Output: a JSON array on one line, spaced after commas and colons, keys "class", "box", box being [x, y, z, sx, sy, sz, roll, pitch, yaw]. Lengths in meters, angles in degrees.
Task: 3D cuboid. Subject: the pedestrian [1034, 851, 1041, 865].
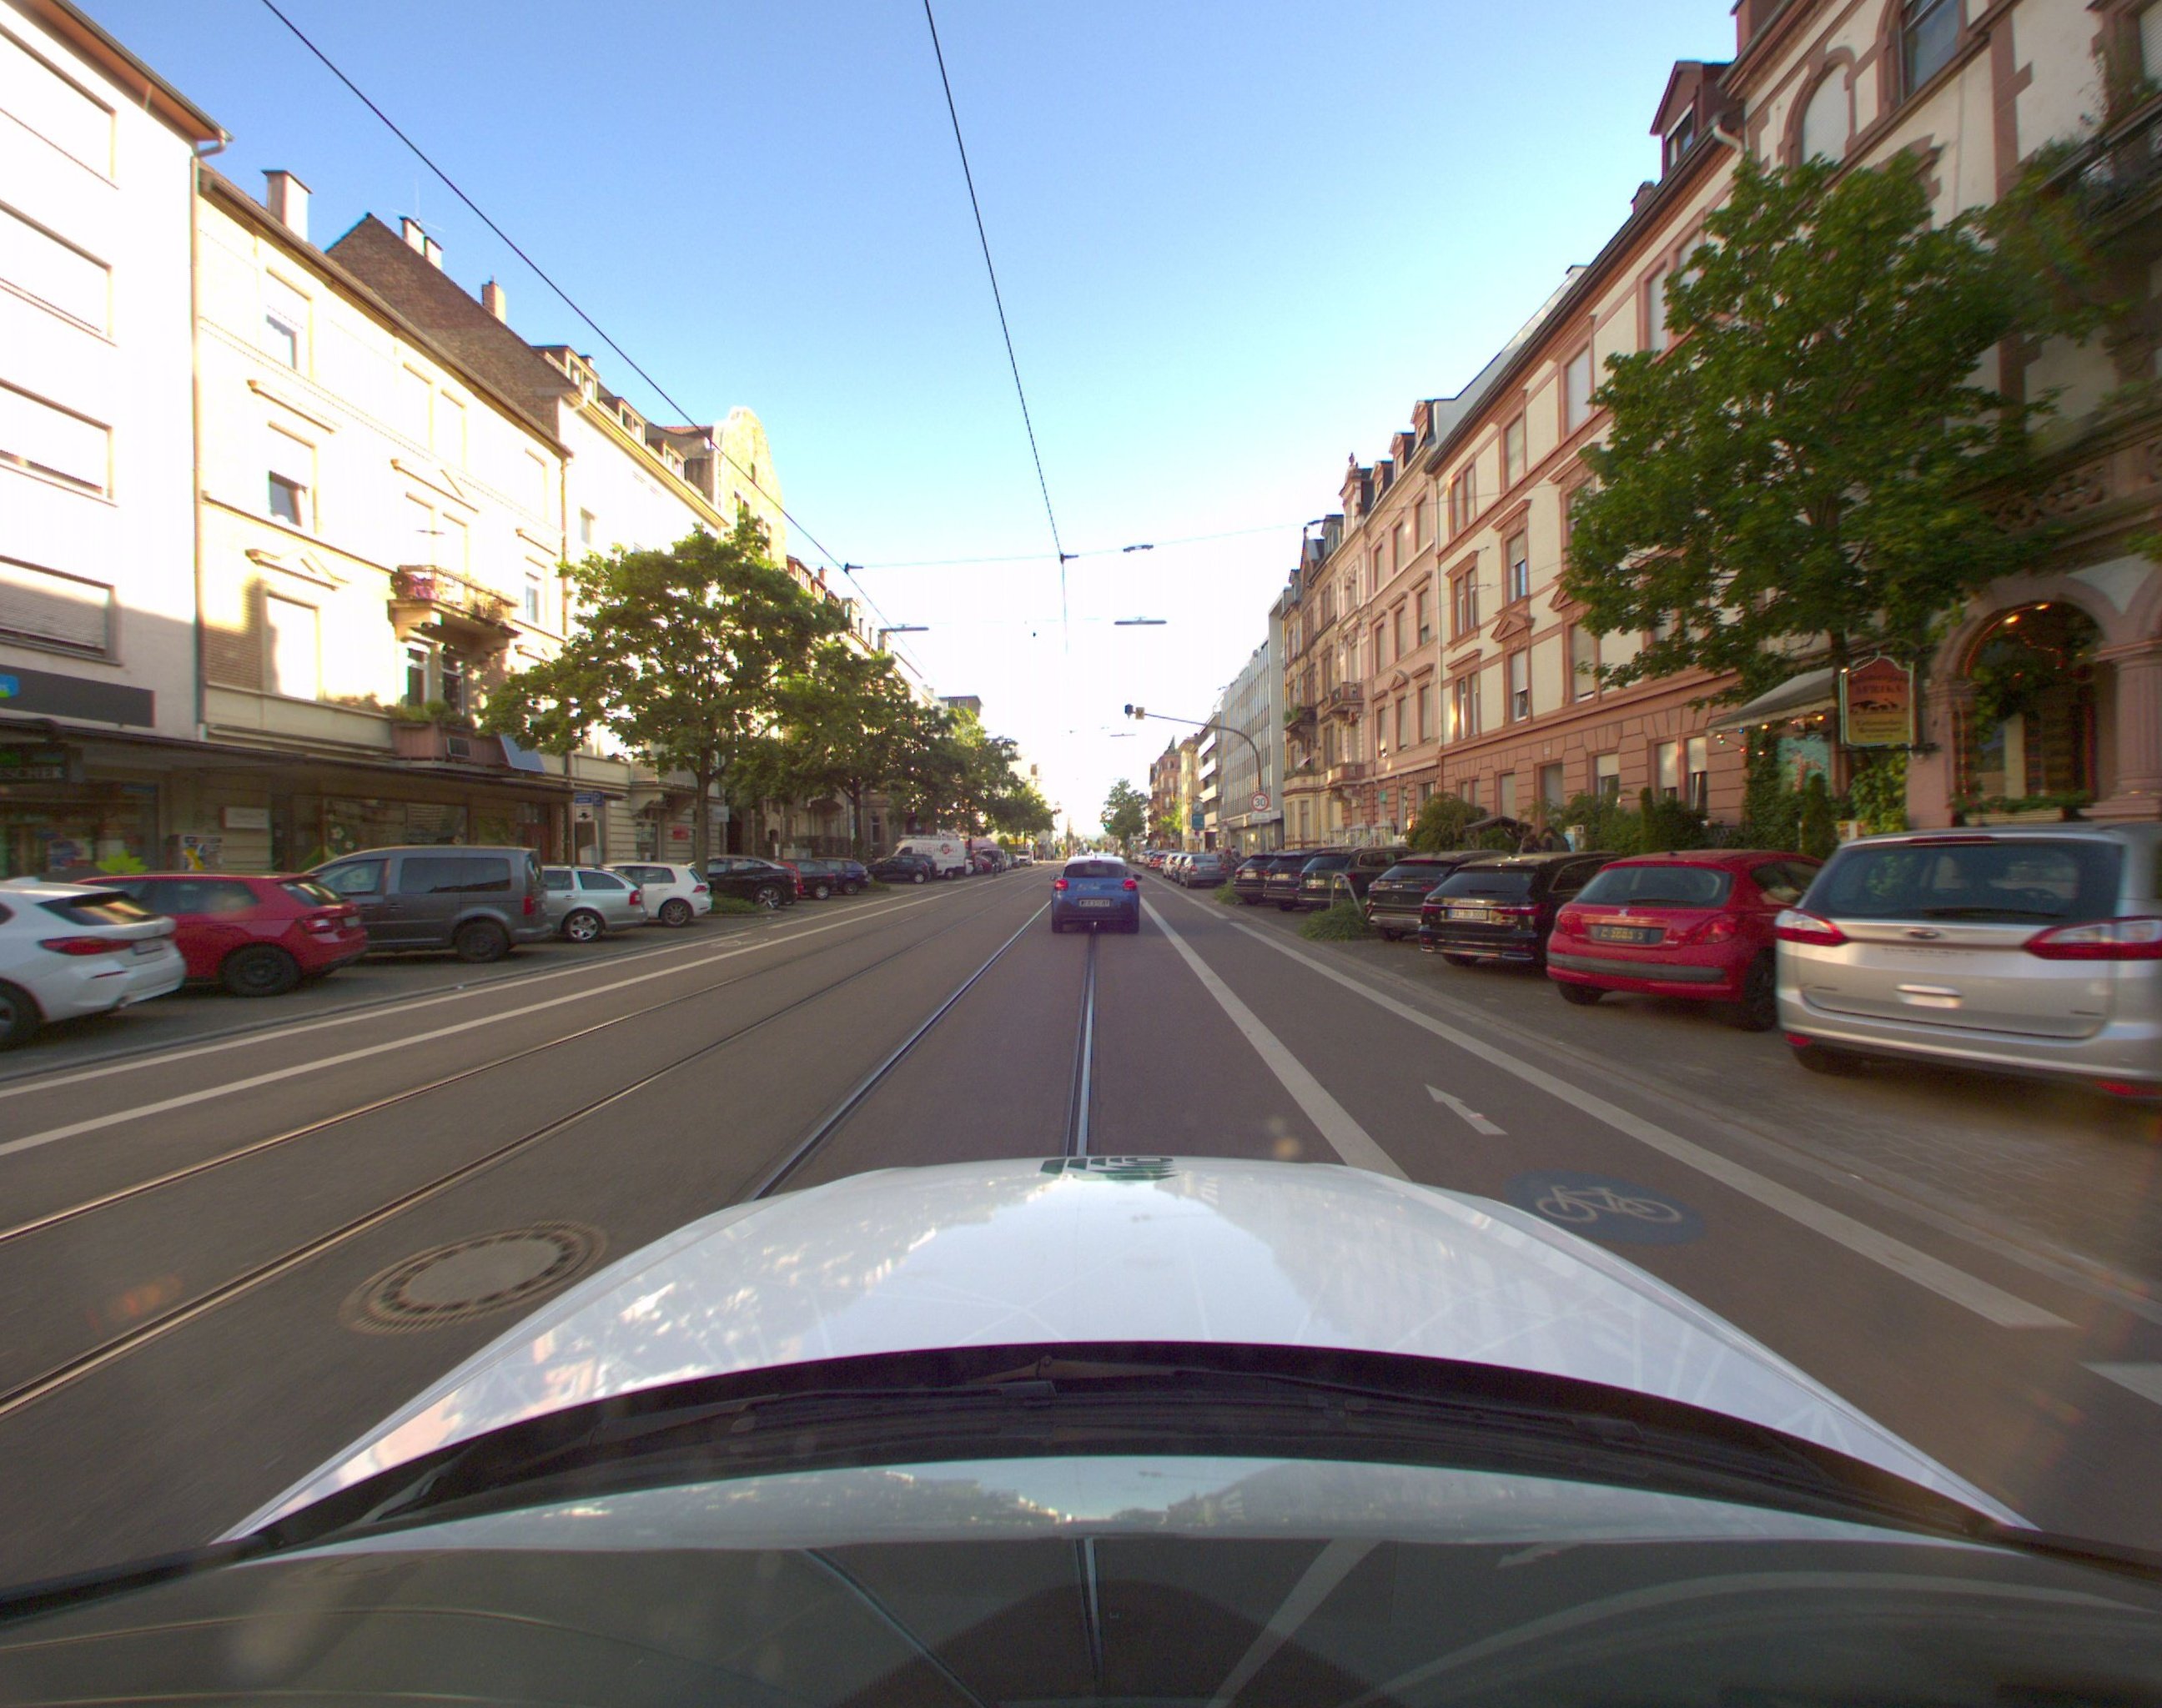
[{"class": "pedestrian", "box": [-5.596, 0.510, 104.889, 0.732, 1.726, 0.623, 0, -1, -23]}]

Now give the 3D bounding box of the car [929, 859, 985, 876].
[{"class": "car", "box": [-9.107, 0.981, 59.903, 3.815, 1.265, 1.504, 0, 0, -25]}]

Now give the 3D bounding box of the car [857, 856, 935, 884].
[{"class": "car", "box": [-9.901, 0.833, 43.547, 3.994, 1.489, 1.797, 0, 0, -15]}]

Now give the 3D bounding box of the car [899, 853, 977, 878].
[{"class": "car", "box": [-9.449, 0.760, 53.850, 4.787, 1.618, 1.695, 0, 0, -31]}]

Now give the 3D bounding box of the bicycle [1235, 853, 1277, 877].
[{"class": "bicycle", "box": [9.068, 0.553, 42.299, 2.050, 1.221, 0.663, -1, -1, -1]}]

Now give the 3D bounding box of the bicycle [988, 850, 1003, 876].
[{"class": "bicycle", "box": [-5.541, 0.589, 52.980, 0.678, 1.678, 2.097, 0, 0, 2]}]

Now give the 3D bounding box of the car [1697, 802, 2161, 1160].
[{"class": "car", "box": [6.398, 0.574, 5.364, 4.370, 1.596, 1.839, 0, 0, -24]}]

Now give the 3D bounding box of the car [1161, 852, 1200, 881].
[{"class": "car", "box": [5.691, 0.681, 47.003, 1.866, 1.596, 4.002, 0, 0, 2]}]

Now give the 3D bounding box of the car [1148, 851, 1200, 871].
[{"class": "car", "box": [7.366, 0.564, 64.448, 3.743, 1.521, 1.949, 0, 0, -32]}]

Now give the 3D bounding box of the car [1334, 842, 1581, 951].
[{"class": "car", "box": [6.539, 0.628, 13.976, 4.351, 1.596, 2.022, 0, 0, -37]}]

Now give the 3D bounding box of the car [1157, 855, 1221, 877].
[{"class": "car", "box": [7.614, 0.854, 57.399, 4.465, 1.508, 1.522, 0, 0, -28]}]

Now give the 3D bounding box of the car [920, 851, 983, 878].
[{"class": "car", "box": [-8.979, 0.688, 56.452, 4.006, 1.817, 1.699, 0, 0, -25]}]

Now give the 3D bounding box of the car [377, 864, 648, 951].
[{"class": "car", "box": [-10.572, 0.919, 15.515, 4.032, 1.449, 1.682, 0, 0, -31]}]

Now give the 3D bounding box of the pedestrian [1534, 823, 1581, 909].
[{"class": "pedestrian", "box": [10.096, 0.255, 17.276, 0.516, 1.778, 0.864, 0, -1, 1]}]

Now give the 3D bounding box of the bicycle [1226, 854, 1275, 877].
[{"class": "bicycle", "box": [9.118, 0.635, 43.929, 2.530, 1.221, 0.664, 0, -1, 0]}]

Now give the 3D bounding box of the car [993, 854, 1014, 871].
[{"class": "car", "box": [-7.535, 0.786, 79.171, 1.742, 1.618, 4.408, 0, 0, -2]}]

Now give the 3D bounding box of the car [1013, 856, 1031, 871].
[{"class": "car", "box": [-7.094, 1.130, 98.090, 1.825, 1.848, 4.215, 0, 0, 2]}]

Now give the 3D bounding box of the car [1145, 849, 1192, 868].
[{"class": "car", "box": [7.214, 0.362, 66.867, 3.463, 1.555, 1.806, 0, 0, -31]}]

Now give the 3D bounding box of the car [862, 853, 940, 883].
[{"class": "car", "box": [-10.129, 0.753, 45.818, 4.006, 1.618, 1.699, 0, 0, -25]}]

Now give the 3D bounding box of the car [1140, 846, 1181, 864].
[{"class": "car", "box": [7.134, 0.093, 72.977, 3.467, 1.640, 1.666, 0, -1, -35]}]

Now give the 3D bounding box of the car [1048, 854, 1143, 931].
[{"class": "car", "box": [0.305, 0.721, 16.861, 1.756, 1.441, 3.557, 0, 0, 1]}]

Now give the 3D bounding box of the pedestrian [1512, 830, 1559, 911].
[{"class": "pedestrian", "box": [9.487, 0.333, 17.026, 0.516, 1.648, 0.864, 0, -1, 1]}]

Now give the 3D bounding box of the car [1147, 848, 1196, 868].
[{"class": "car", "box": [7.781, 0.354, 69.788, 3.743, 1.652, 2.027, 0, 0, -32]}]

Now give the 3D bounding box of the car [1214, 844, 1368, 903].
[{"class": "car", "box": [6.217, 0.548, 23.962, 4.331, 1.596, 1.963, 0, 0, -32]}]

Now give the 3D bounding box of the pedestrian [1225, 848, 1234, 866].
[{"class": "pedestrian", "box": [13.135, 0.254, 72.252, 0.690, 1.587, 0.678, 0, -1, 1]}]

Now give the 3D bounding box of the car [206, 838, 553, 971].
[{"class": "car", "box": [-10.578, 0.691, 12.715, 3.835, 1.785, 1.779, 0, -1, -31]}]

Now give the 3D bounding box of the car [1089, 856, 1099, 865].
[{"class": "car", "box": [1.967, 0.996, 123.967, 1.417, 1.432, 3.140, 0, 0, 2]}]

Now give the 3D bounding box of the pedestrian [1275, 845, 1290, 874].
[{"class": "pedestrian", "box": [11.458, 0.310, 46.230, 0.709, 1.607, 0.654, 0, -1, 0]}]

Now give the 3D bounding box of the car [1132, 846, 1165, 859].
[{"class": "car", "box": [8.151, -0.179, 98.586, 3.664, 1.574, 1.849, 0, 0, -18]}]

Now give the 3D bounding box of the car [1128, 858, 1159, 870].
[{"class": "car", "box": [8.046, 1.236, 104.922, 3.664, 1.534, 1.778, 0, 0, -18]}]

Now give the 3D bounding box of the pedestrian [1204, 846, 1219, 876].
[{"class": "pedestrian", "box": [6.994, 0.374, 43.610, 0.709, 1.607, 0.654, 0, -1, 0]}]

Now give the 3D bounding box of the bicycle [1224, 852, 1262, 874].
[{"class": "bicycle", "box": [9.069, 0.479, 45.730, 2.012, 1.221, 0.664, 0, -1, 0]}]

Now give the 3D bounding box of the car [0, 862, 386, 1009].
[{"class": "car", "box": [-10.792, 0.876, 9.735, 3.479, 1.473, 1.634, -1, 0, -28]}]

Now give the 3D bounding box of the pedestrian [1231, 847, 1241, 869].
[{"class": "pedestrian", "box": [12.002, 0.309, 63.008, 0.690, 1.756, 0.678, 0, -1, 1]}]

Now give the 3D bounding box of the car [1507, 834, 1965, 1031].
[{"class": "car", "box": [6.458, 0.623, 8.061, 4.004, 1.536, 1.904, 0, 0, -24]}]

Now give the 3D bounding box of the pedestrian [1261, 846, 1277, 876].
[{"class": "pedestrian", "box": [10.662, 0.400, 46.165, 0.709, 1.607, 0.654, -3, -1, 0]}]

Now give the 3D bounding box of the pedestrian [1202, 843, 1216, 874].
[{"class": "pedestrian", "box": [7.042, 0.261, 44.858, 0.709, 1.671, 0.654, 0, -1, 0]}]

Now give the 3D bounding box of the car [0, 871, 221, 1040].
[{"class": "car", "box": [-10.478, 0.873, 7.062, 3.804, 1.400, 1.737, 0, 0, -32]}]

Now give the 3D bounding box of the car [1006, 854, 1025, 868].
[{"class": "car", "box": [-6.836, 0.738, 84.687, 1.743, 1.487, 4.039, 0, 0, -2]}]

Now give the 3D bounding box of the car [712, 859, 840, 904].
[{"class": "car", "box": [-10.825, 0.919, 28.980, 4.013, 1.489, 1.788, 0, 0, -31]}]

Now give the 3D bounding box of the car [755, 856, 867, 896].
[{"class": "car", "box": [-10.599, 0.836, 31.996, 4.008, 1.489, 1.790, 0, 0, -27]}]

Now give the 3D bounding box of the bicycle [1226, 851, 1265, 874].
[{"class": "bicycle", "box": [9.075, 0.475, 44.882, 2.012, 1.221, 0.664, 0, -1, 0]}]

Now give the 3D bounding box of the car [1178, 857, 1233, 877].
[{"class": "car", "box": [9.340, 0.955, 61.138, 3.796, 1.487, 1.822, 0, 0, -28]}]

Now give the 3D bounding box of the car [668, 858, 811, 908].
[{"class": "car", "box": [-10.934, 0.878, 26.097, 4.013, 1.489, 1.849, 0, 0, -31]}]

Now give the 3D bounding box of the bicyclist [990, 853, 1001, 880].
[{"class": "bicyclist", "box": [-5.530, 0.801, 52.695, 0.632, 1.681, 0.727, 0, -1, 1]}]

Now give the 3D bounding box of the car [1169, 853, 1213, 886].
[{"class": "car", "box": [5.576, 0.760, 41.697, 1.866, 1.596, 4.002, 0, 0, 2]}]

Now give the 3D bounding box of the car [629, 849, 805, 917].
[{"class": "car", "box": [-10.381, 0.776, 23.286, 4.381, 1.783, 1.976, 0, 0, -31]}]

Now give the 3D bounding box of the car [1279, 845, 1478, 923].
[{"class": "car", "box": [6.697, 0.615, 18.348, 4.004, 1.596, 1.944, 0, 0, -24]}]

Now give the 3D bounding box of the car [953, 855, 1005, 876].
[{"class": "car", "box": [-7.941, 0.891, 63.556, 3.736, 1.622, 1.777, 0, 0, -20]}]

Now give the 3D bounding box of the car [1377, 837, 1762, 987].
[{"class": "car", "box": [6.283, 0.624, 10.499, 4.454, 1.596, 2.072, 0, 0, -24]}]

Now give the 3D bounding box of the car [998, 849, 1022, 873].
[{"class": "car", "box": [-6.067, 0.600, 70.245, 1.742, 1.973, 5.237, 0, 0, -2]}]

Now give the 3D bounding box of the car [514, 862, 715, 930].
[{"class": "car", "box": [-10.578, 0.901, 18.806, 3.850, 1.430, 1.752, 0, 0, -25]}]

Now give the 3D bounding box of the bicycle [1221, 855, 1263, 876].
[{"class": "bicycle", "box": [9.408, 0.655, 47.736, 2.347, 1.221, 0.664, 0, -1, 4]}]

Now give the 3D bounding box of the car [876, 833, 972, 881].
[{"class": "car", "box": [-9.432, 0.190, 49.026, 5.402, 2.749, 1.789, 0, -1, -29]}]

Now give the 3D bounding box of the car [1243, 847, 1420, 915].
[{"class": "car", "box": [6.461, 0.647, 21.036, 4.004, 1.596, 2.071, 0, 0, -23]}]

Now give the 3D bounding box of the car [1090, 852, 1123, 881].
[{"class": "car", "box": [1.482, 0.701, 47.086, 1.866, 1.596, 4.002, 0, 0, 2]}]

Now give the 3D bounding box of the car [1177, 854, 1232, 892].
[{"class": "car", "box": [5.363, 0.794, 36.001, 1.866, 1.596, 4.721, 0, 0, 2]}]

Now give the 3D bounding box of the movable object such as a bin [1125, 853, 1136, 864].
[{"class": "movable object such as a bin", "box": [6.936, 0.617, 114.456, 1.389, 1.483, 1.656, 0, 0, 1]}]

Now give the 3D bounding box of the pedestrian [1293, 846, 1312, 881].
[{"class": "pedestrian", "box": [10.334, 0.424, 37.995, 0.709, 1.607, 0.654, 0, -1, 0]}]
